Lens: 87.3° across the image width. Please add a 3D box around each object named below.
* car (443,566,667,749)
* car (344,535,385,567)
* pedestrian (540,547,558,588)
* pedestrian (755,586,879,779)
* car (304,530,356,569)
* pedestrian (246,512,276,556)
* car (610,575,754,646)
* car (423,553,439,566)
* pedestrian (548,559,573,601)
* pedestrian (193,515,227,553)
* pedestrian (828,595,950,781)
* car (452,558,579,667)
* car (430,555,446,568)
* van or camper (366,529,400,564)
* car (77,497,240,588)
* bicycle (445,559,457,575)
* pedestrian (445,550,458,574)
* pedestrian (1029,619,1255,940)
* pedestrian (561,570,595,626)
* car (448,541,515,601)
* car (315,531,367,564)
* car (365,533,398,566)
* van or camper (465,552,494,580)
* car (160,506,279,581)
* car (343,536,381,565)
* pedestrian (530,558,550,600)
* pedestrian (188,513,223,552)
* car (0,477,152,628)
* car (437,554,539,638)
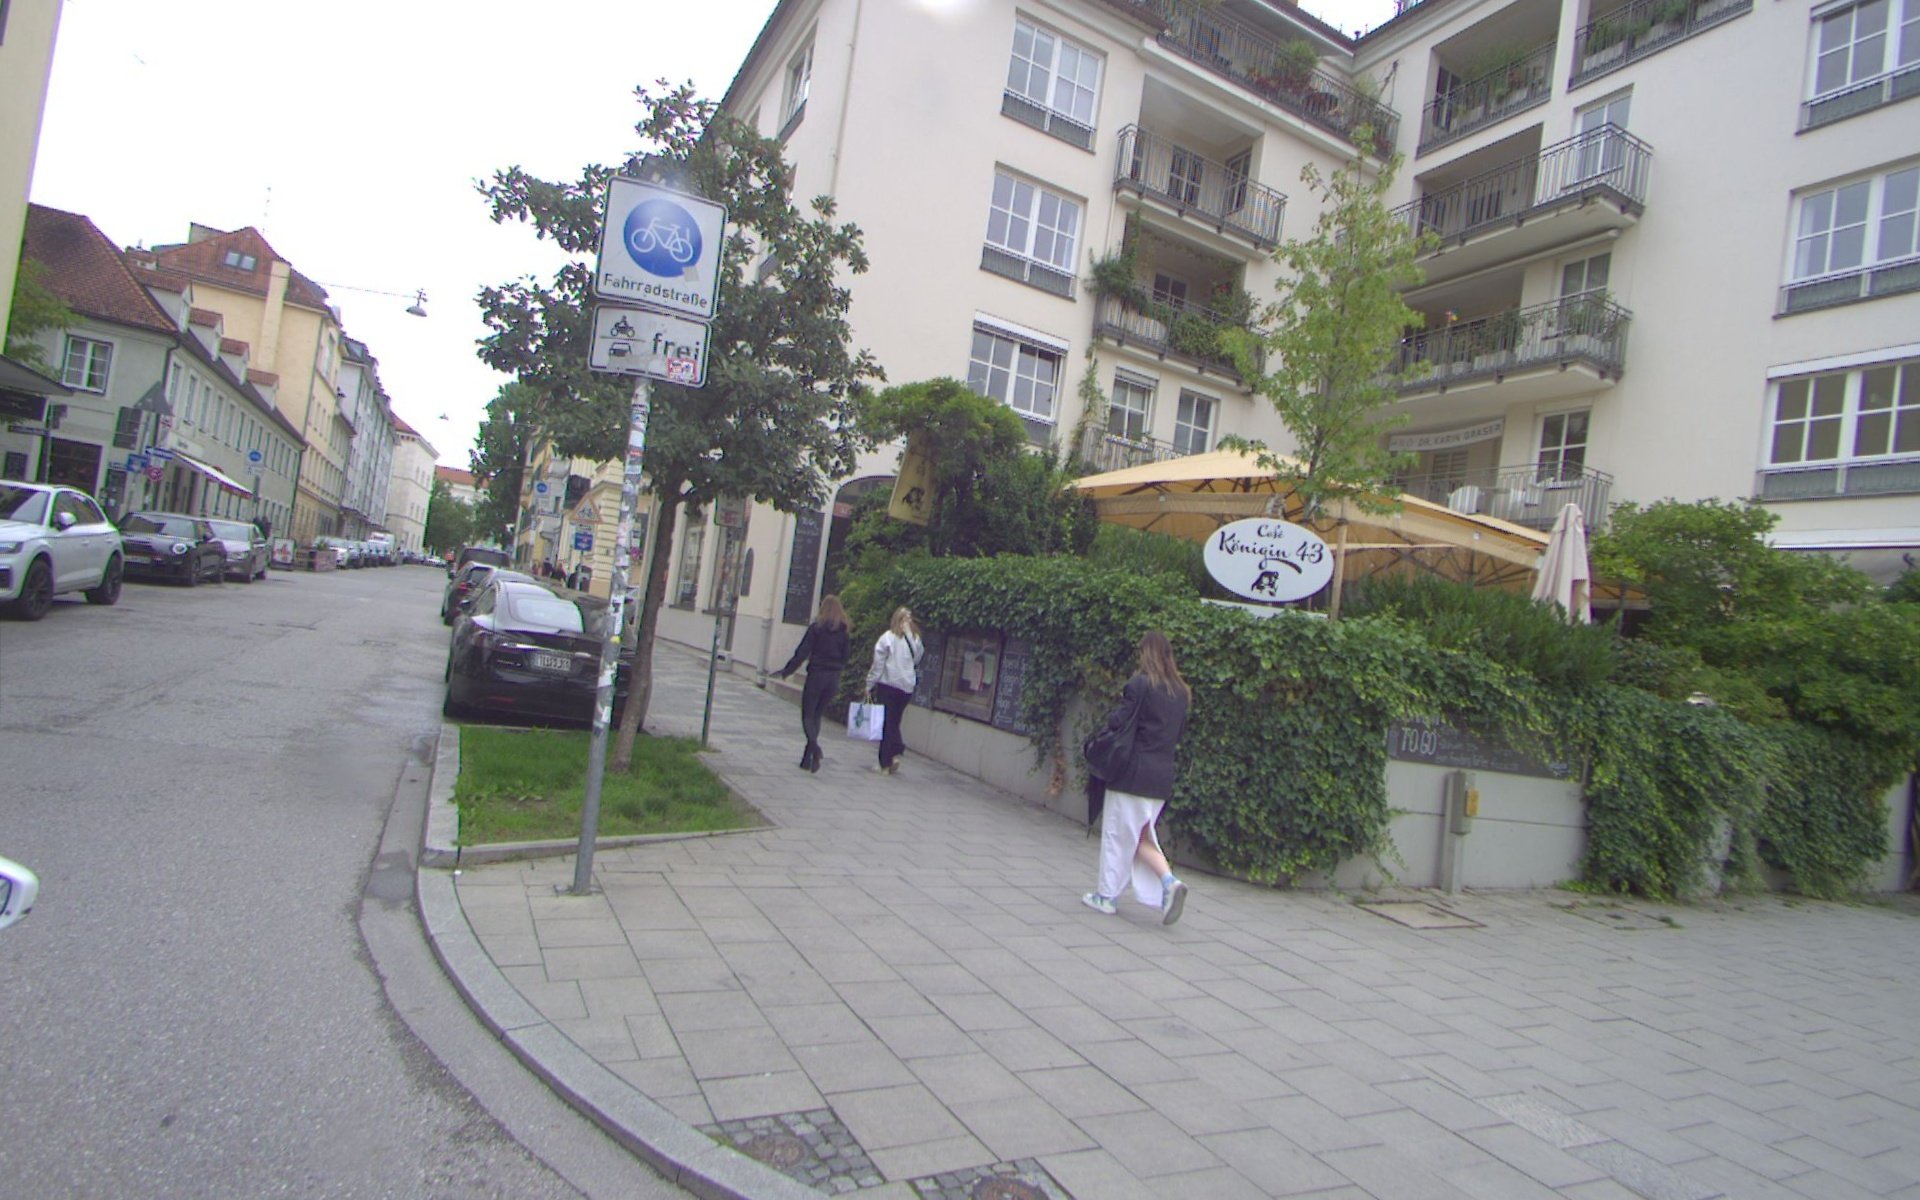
[{"bbox_3d":[-4.803,0.507,11.581,1.789,1.426,4.625,10,-2,-26],"label":"car"},{"bbox_3d":[-34.437,-2.804,58.279,1.742,1.513,4.170,10,-2,-29],"label":"car"},{"bbox_3d":[-20.635,-1.621,50.530,0.663,2.005,0.704,5,0,-26],"label":"pedestrian"},{"bbox_3d":[-1.367,0.756,9.506,0.699,1.680,0.875,8,-2,-28],"label":"pedestrian"},{"bbox_3d":[-30.135,-2.405,48.179,1.743,1.491,3.686,10,-2,-29],"label":"car"},{"bbox_3d":[-33.111,-3.124,47.671,0.816,1.919,0.822,8,-2,-28],"label":"pedestrian"},{"bbox_3d":[-9.029,0.355,32.727,4.058,1.624,1.741,9,0,-29],"label":"car"},{"bbox_3d":[-76.178,-5.782,144.903,1.691,1.599,3.842,8,-2,-24],"label":"car"},{"bbox_3d":[-16.694,-0.829,42.037,0.653,1.638,0.973,8,-2,-28],"label":"pedestrian"},{"bbox_3d":[-28.940,-2.551,38.814,0.796,1.304,0.689,9,-2,-27],"label":"pedestrian"},{"bbox_3d":[-0.708,0.841,9.884,0.699,1.680,0.875,8,-2,-28],"label":"pedestrian"},{"bbox_3d":[-8.257,0.147,18.459,1.635,1.440,4.477,12,-3,-28],"label":"car"},{"bbox_3d":[-78.160,-5.743,150.744,1.691,1.599,3.842,8,-2,-24],"label":"car"},{"bbox_3d":[-43.740,-4.012,76.310,1.741,2.307,5.238,9,-2,-27],"label":"van or camper"},{"bbox_3d":[-16.653,-1.171,21.128,1.664,1.489,4.071,8,-1,-26],"label":"car"},{"bbox_3d":[-39.612,-2.570,78.284,0.670,1.107,1.749,8,-3,-27],"label":"bicycle"},{"bbox_3d":[-39.596,-2.960,78.324,0.637,1.733,0.837,8,-2,-27],"label":"pedestrian"},{"bbox_3d":[1.018,0.983,5.756,0.699,1.641,0.875,8,-2,-28],"label":"pedestrian"},{"bbox_3d":[-12.625,-0.079,33.210,0.713,1.736,0.997,8,-2,-28],"label":"pedestrian"},{"bbox_3d":[-18.652,-1.142,39.276,1.981,1.885,5.221,10,-2,-25],"label":"car"},{"bbox_3d":[-32.435,-2.731,52.818,1.785,1.354,4.653,10,-2,-27],"label":"car"},{"bbox_3d":[-41.204,-3.608,71.674,1.743,2.017,4.589,9,-2,-31],"label":"car"},{"bbox_3d":[-38.106,-2.700,79.740,1.819,1.893,5.047,9,-2,-26],"label":"van or camper"},{"bbox_3d":[-18.558,-1.399,25.420,1.666,1.489,4.913,8,-1,-29],"label":"car"},{"bbox_3d":[-37.193,-3.090,62.635,1.803,1.458,4.099,8,-1,-30],"label":"car"},{"bbox_3d":[-17.385,-0.875,41.661,0.468,1.643,1.062,8,-2,-27],"label":"pedestrian"},{"bbox_3d":[-28.619,-2.546,38.147,0.796,1.304,0.689,9,-2,-27],"label":"pedestrian"},{"bbox_3d":[-12.175,-0.726,12.900,1.787,1.603,4.308,8,0,-27],"label":"car"},{"bbox_3d":[-10.915,-0.152,23.125,1.665,1.440,4.172,12,-3,-29],"label":"car"}]
